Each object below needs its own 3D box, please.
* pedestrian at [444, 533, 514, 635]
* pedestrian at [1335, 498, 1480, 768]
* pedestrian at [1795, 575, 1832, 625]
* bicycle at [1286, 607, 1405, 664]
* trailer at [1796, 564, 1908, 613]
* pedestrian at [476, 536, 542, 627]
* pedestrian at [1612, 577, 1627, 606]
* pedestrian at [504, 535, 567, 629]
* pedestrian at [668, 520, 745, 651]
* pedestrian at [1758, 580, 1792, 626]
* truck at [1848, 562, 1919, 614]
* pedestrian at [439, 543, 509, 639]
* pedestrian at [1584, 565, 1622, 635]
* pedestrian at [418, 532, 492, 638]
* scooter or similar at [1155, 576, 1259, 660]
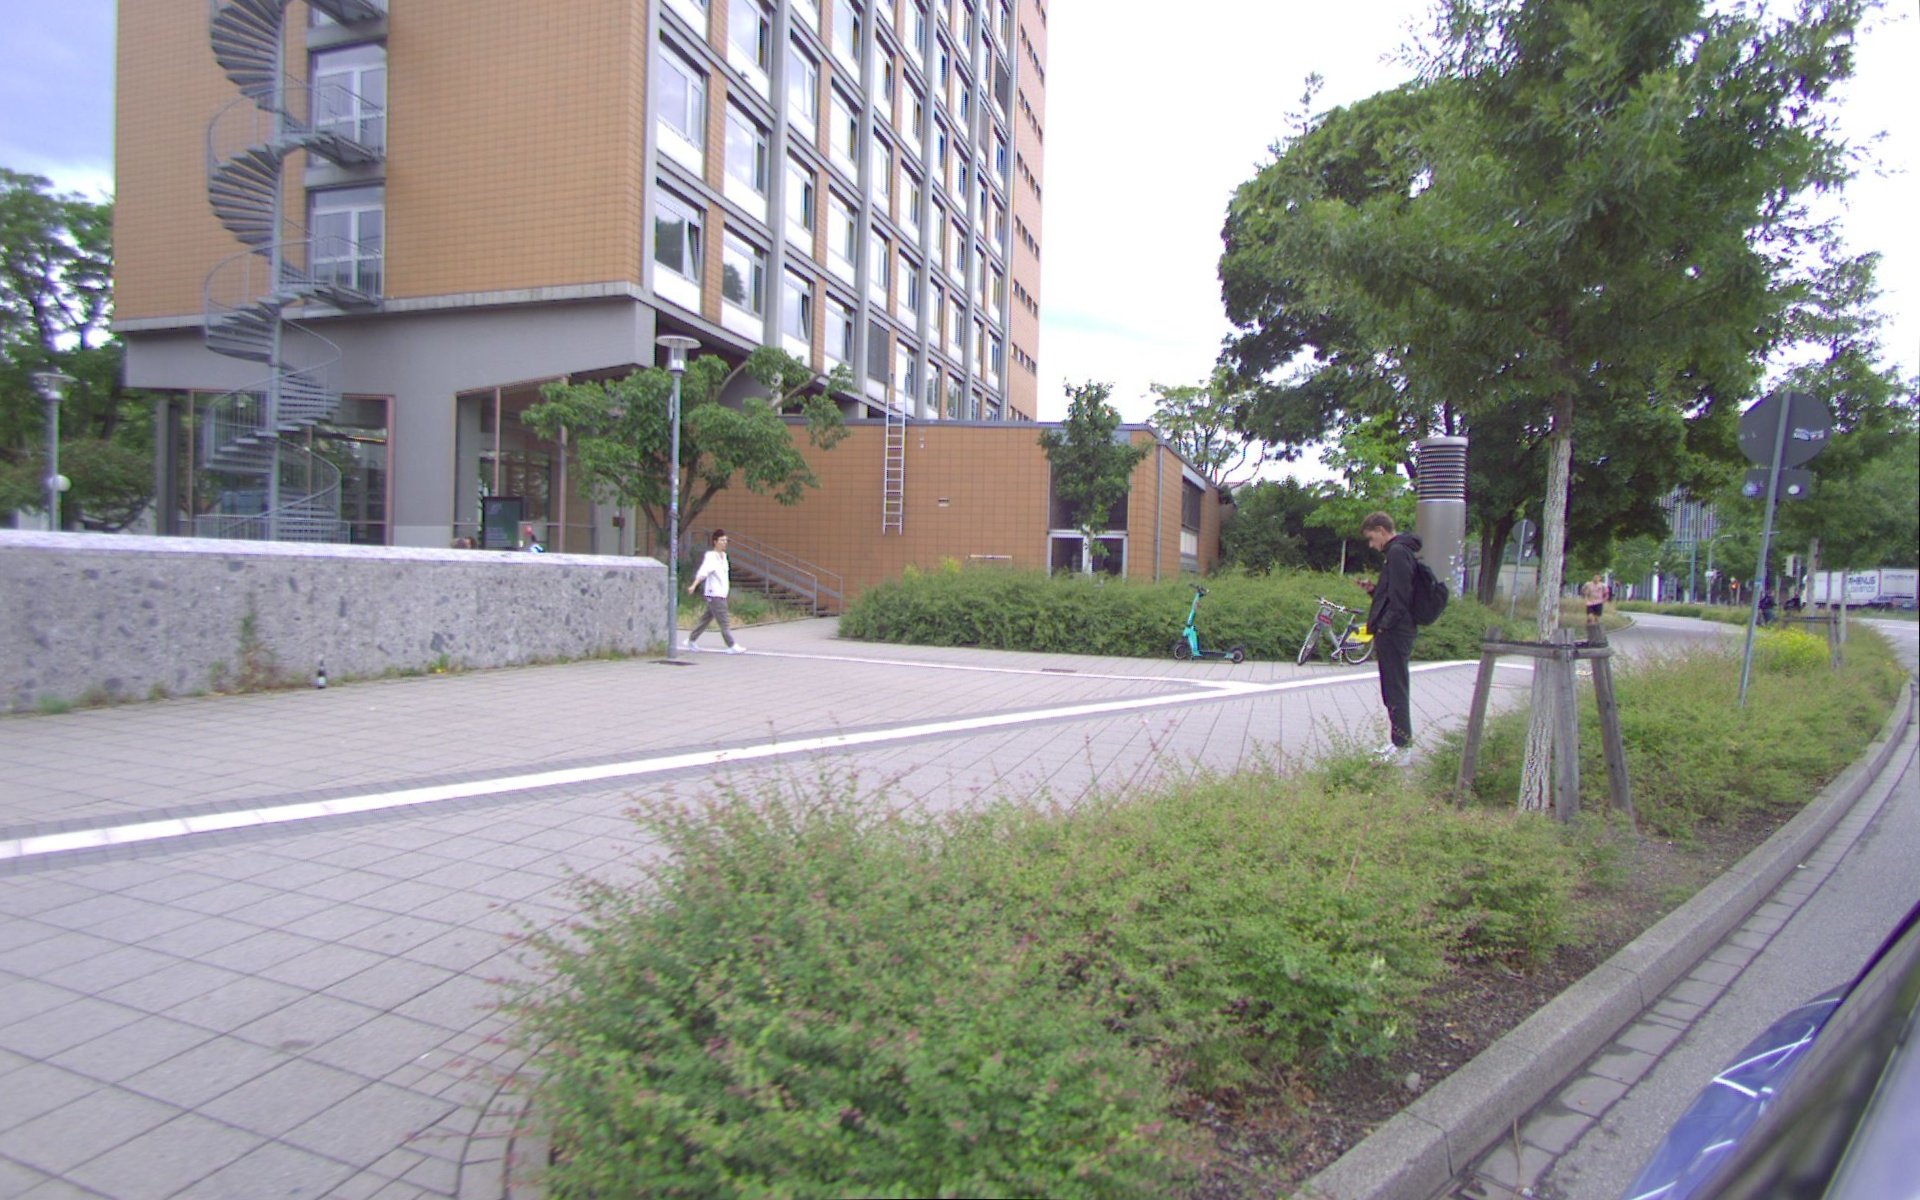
[{"bbox_3d":[-8.555,-0.285,18.034,0.860,1.764,0.722,1,1,10],"label":"pedestrian"},{"bbox_3d":[3.413,0.222,7.795,0.861,1.952,0.721,1,1,14],"label":"pedestrian"},{"bbox_3d":[31.862,-0.005,37.775,0.708,1.822,0.598,3,3,1],"label":"pedestrian"},{"bbox_3d":[6.201,0.555,16.265,2.031,0.859,0.559,1,1,-27],"label":"bicycle"},{"bbox_3d":[79.598,-1.015,90.711,2.912,4.064,13.713,0,0,21],"label":"trailer"},{"bbox_3d":[-8.410,-0.354,18.879,0.865,1.651,0.718,2,1,25],"label":"pedestrian"},{"bbox_3d":[42.770,-0.546,65.653,0.591,1.822,0.515,5,3,25],"label":"pedestrian"},{"bbox_3d":[-8.184,-0.359,19.508,0.865,1.758,0.718,2,1,25],"label":"pedestrian"},{"bbox_3d":[-3.672,-0.220,14.687,0.697,1.828,0.831,2,1,28],"label":"pedestrian"},{"bbox_3d":[33.480,0.109,41.582,0.708,1.822,0.598,3,3,1],"label":"pedestrian"},{"bbox_3d":[76.915,-0.987,83.725,2.879,4.075,7.110,0,0,21],"label":"truck"},{"bbox_3d":[-8.622,-0.166,17.964,0.865,1.651,0.718,2,1,25],"label":"pedestrian"},{"bbox_3d":[17.410,0.001,27.405,0.629,1.822,0.588,6,4,44],"label":"pedestrian"},{"bbox_3d":[-8.593,-0.267,17.238,0.860,1.752,0.722,1,1,10],"label":"pedestrian"},{"bbox_3d":[3.986,0.266,16.323,1.582,1.306,0.691,0,0,17],"label":"scooter or similar"}]
